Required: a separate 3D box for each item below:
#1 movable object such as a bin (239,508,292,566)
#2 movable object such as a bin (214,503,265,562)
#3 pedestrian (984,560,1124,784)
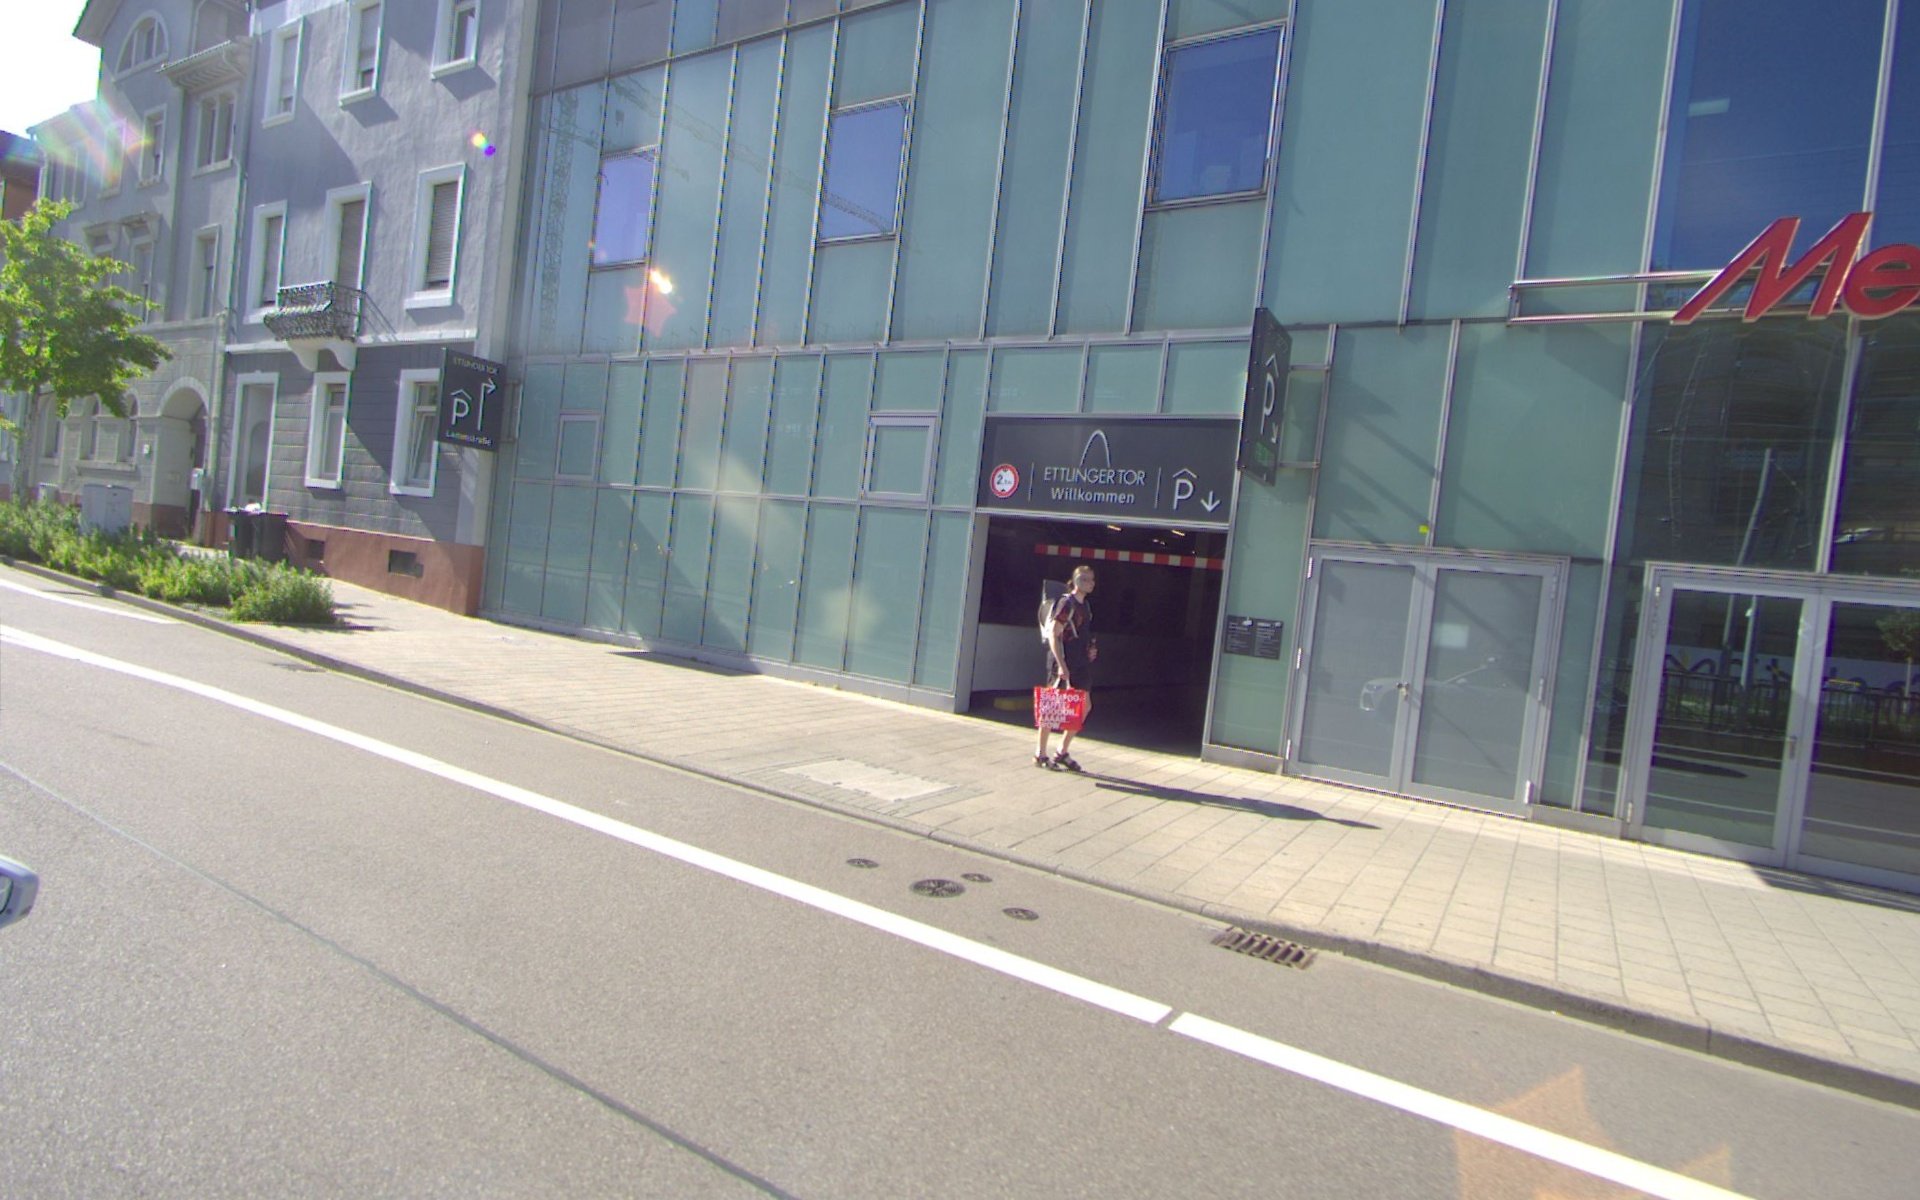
[{"bbox_3d":[-14.530,-1.315,21.052,0.692,1.096,0.603,8,1,33],"label":"movable object such as a bin"},{"bbox_3d":[-15.286,-1.432,21.343,0.692,1.122,0.588,8,1,33],"label":"movable object such as a bin"},{"bbox_3d":[0.898,0.644,9.560,0.880,1.951,0.875,7,4,31],"label":"pedestrian"}]
